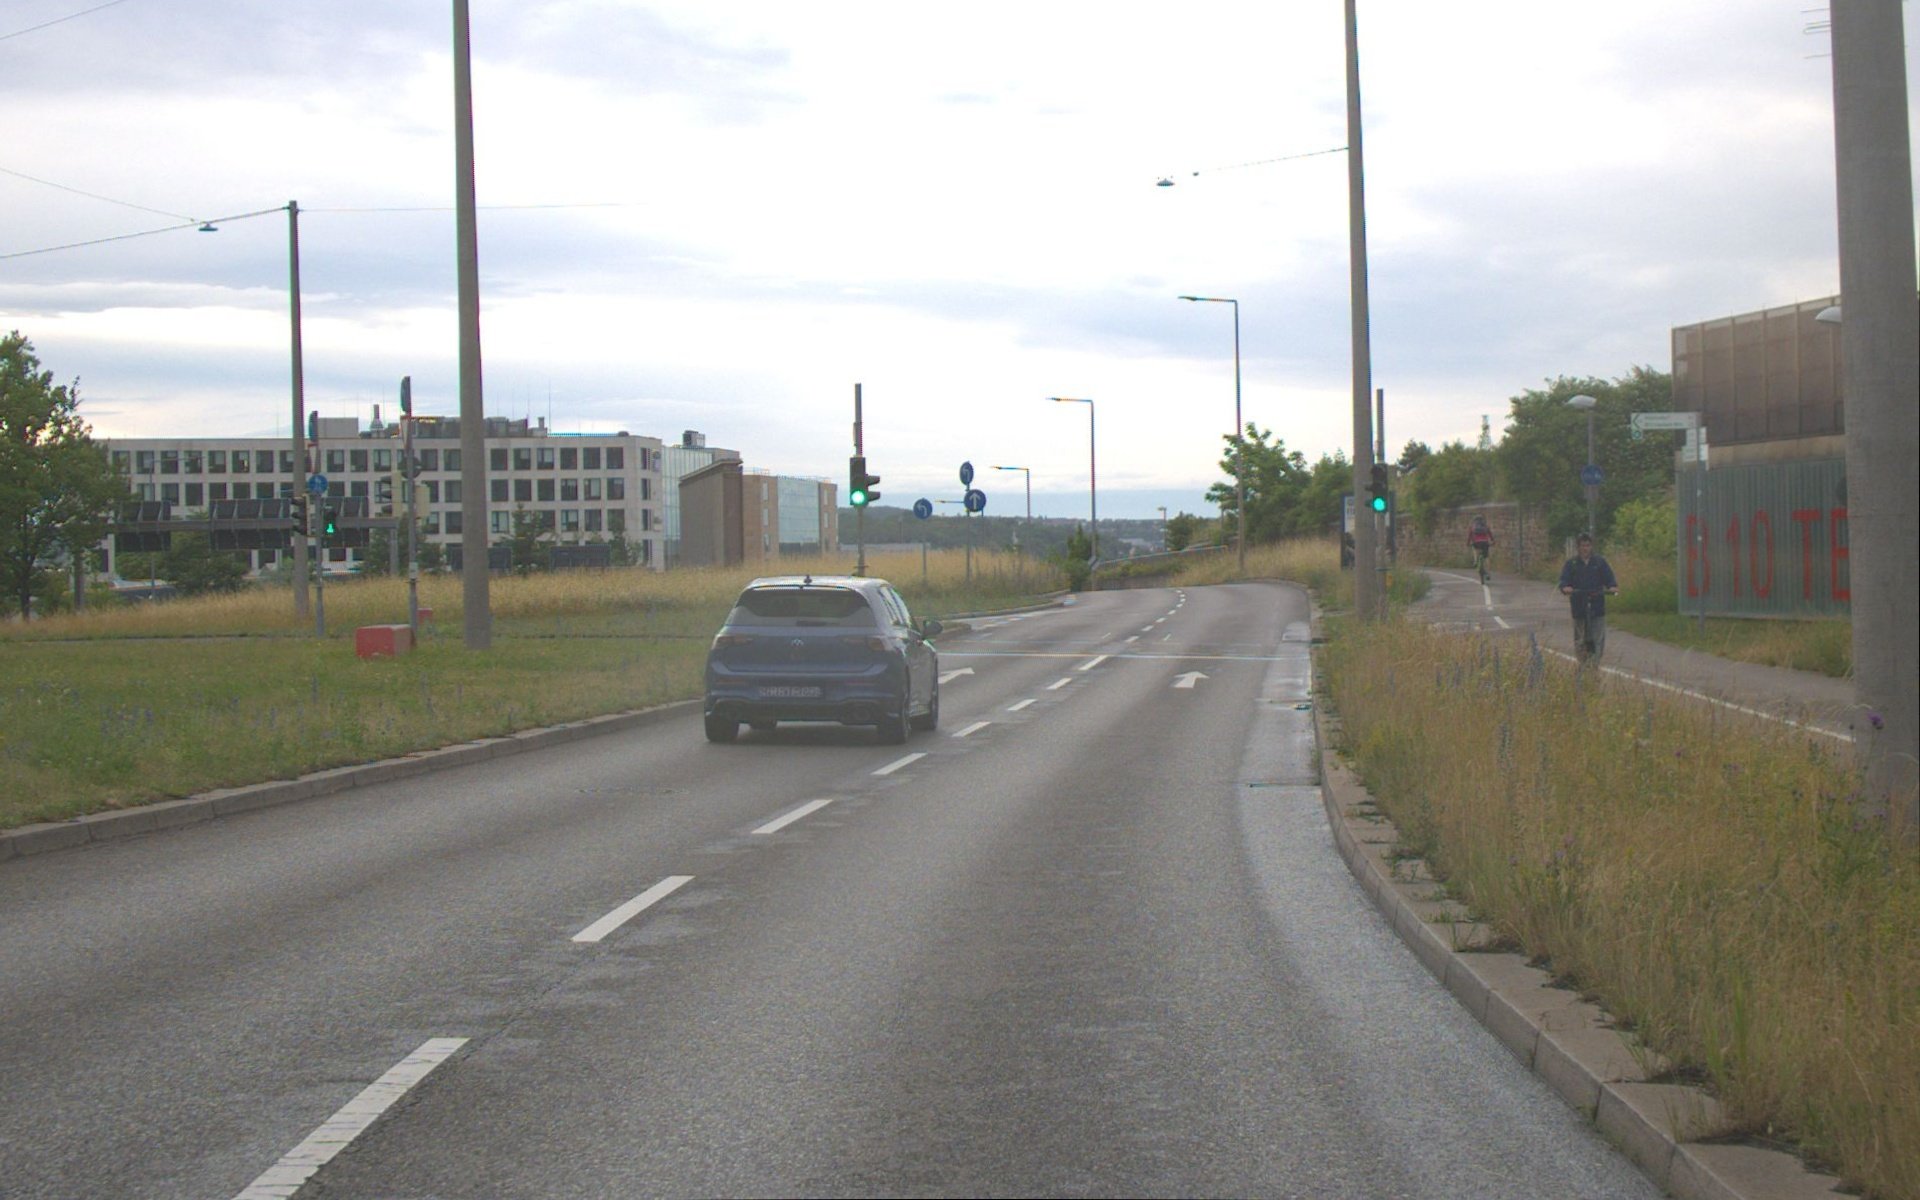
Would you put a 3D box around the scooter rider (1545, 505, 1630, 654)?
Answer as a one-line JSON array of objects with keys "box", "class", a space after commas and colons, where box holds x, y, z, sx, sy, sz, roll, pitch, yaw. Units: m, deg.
[{"box": [6.997, -0.222, 38.360, 0.806, 1.623, 0.828, -2, -1, 5], "class": "scooter rider"}]

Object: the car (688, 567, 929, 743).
[{"box": [-1.300, 0.447, 31.078, 1.838, 1.389, 4.000, 1, 2, 2], "class": "car"}]

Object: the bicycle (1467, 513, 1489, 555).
[{"box": [13.155, -1.669, 87.327, 0.551, 1.064, 0.615, 0, 1, 8], "class": "bicycle"}]

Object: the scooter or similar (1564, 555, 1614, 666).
[{"box": [6.965, 0.108, 38.065, 0.401, 1.192, 1.114, 2, 1, 5], "class": "scooter or similar"}]

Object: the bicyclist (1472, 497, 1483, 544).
[{"box": [13.151, -2.022, 87.336, 0.265, 1.191, 0.315, 0, 1, 8], "class": "bicyclist"}]
